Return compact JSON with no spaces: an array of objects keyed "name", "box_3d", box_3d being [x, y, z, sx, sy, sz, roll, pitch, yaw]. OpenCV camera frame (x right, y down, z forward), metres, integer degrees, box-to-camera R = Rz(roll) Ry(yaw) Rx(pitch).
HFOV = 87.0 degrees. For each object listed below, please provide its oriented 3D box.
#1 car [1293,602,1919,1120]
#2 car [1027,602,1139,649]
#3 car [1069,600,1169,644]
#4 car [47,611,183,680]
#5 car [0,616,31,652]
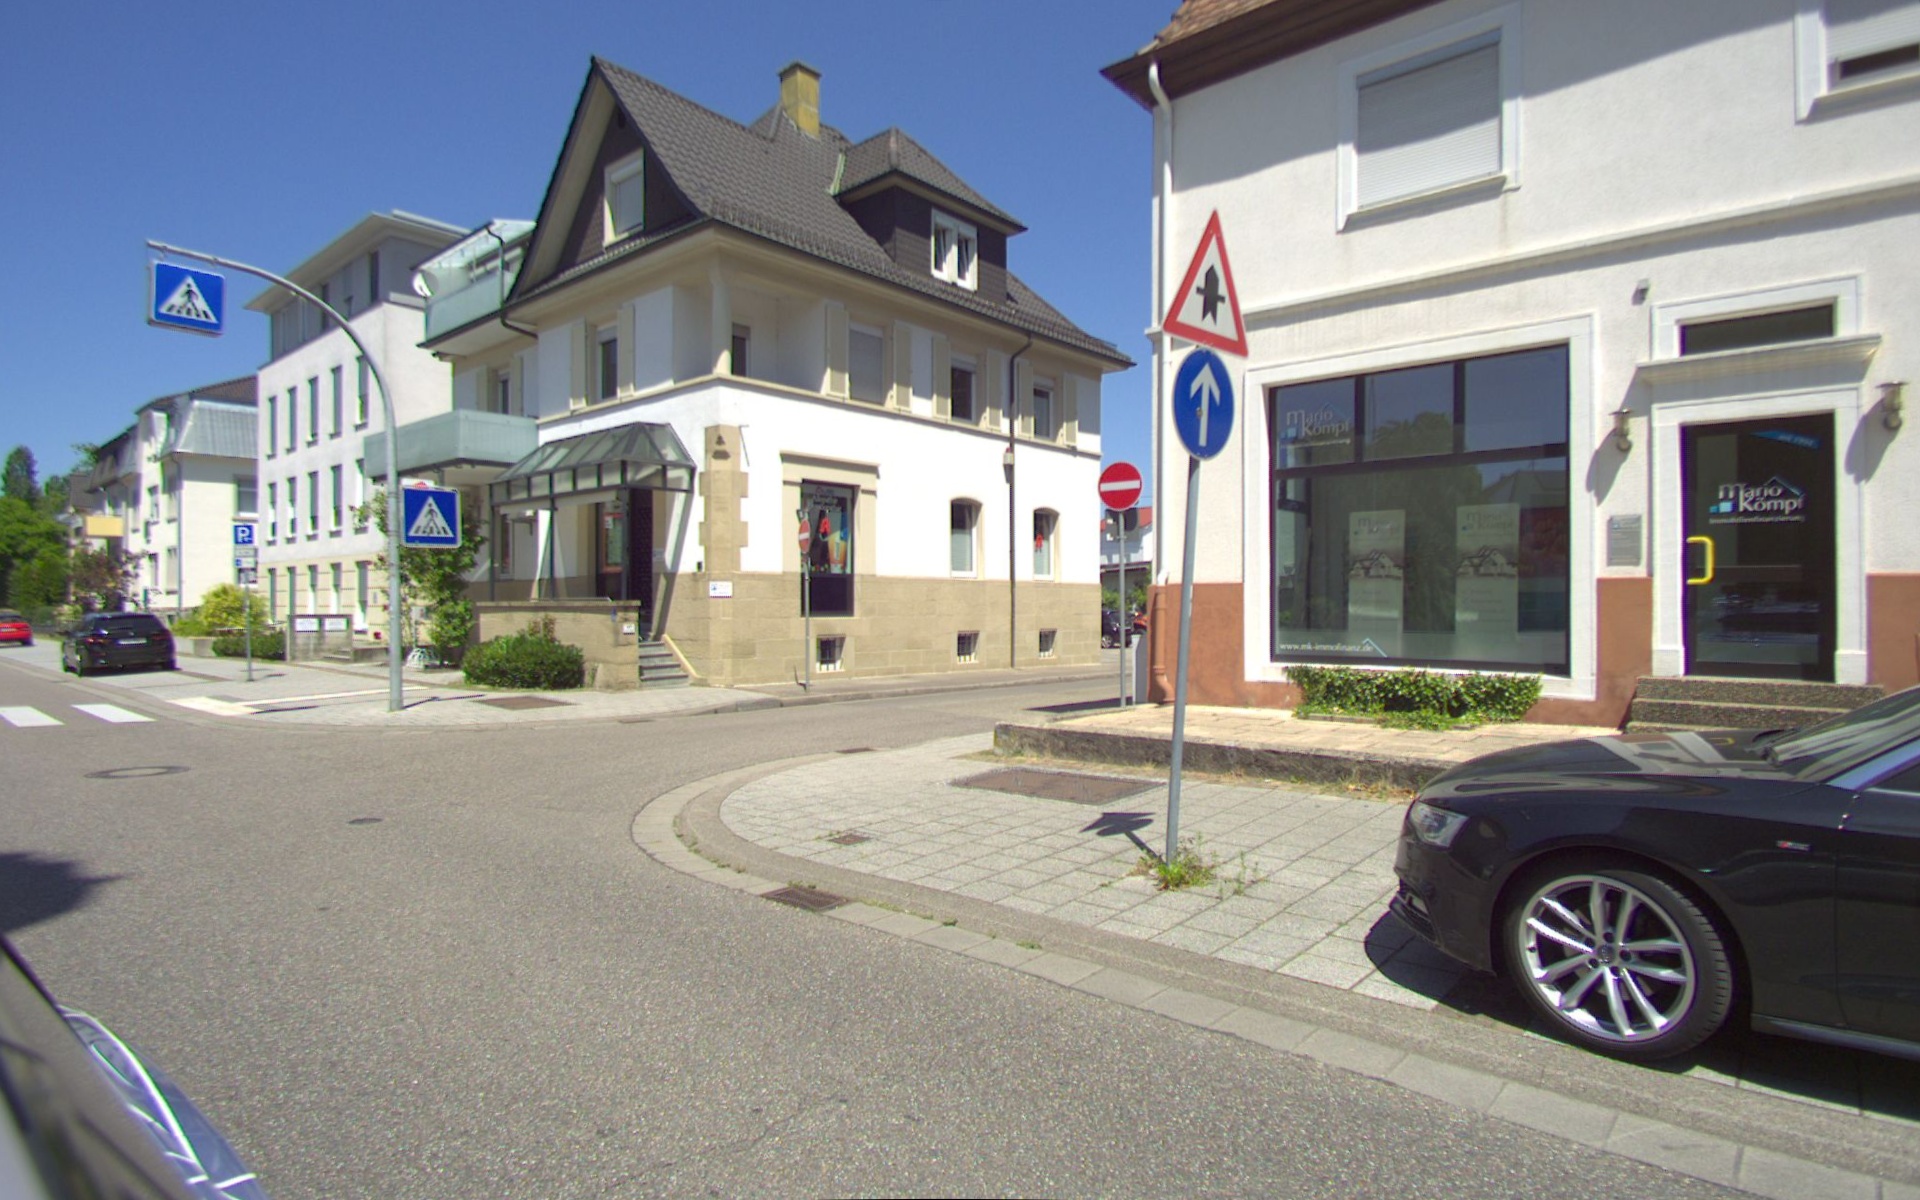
[{"name":"car","box_3d":[3.816,0.693,2.907,5.097,1.384,1.921,-1,-1,42]},{"name":"car","box_3d":[4.825,0.987,39.911,4.000,1.759,1.972,-1,-1,43]},{"name":"car","box_3d":[6.579,0.907,42.235,1.966,1.759,4.011,0,-1,-33]},{"name":"car","box_3d":[-21.294,1.078,25.419,5.148,1.463,1.896,-1,2,42]},{"name":"car","box_3d":[-41.725,1.463,43.854,4.259,1.463,1.714,-1,2,42]}]
